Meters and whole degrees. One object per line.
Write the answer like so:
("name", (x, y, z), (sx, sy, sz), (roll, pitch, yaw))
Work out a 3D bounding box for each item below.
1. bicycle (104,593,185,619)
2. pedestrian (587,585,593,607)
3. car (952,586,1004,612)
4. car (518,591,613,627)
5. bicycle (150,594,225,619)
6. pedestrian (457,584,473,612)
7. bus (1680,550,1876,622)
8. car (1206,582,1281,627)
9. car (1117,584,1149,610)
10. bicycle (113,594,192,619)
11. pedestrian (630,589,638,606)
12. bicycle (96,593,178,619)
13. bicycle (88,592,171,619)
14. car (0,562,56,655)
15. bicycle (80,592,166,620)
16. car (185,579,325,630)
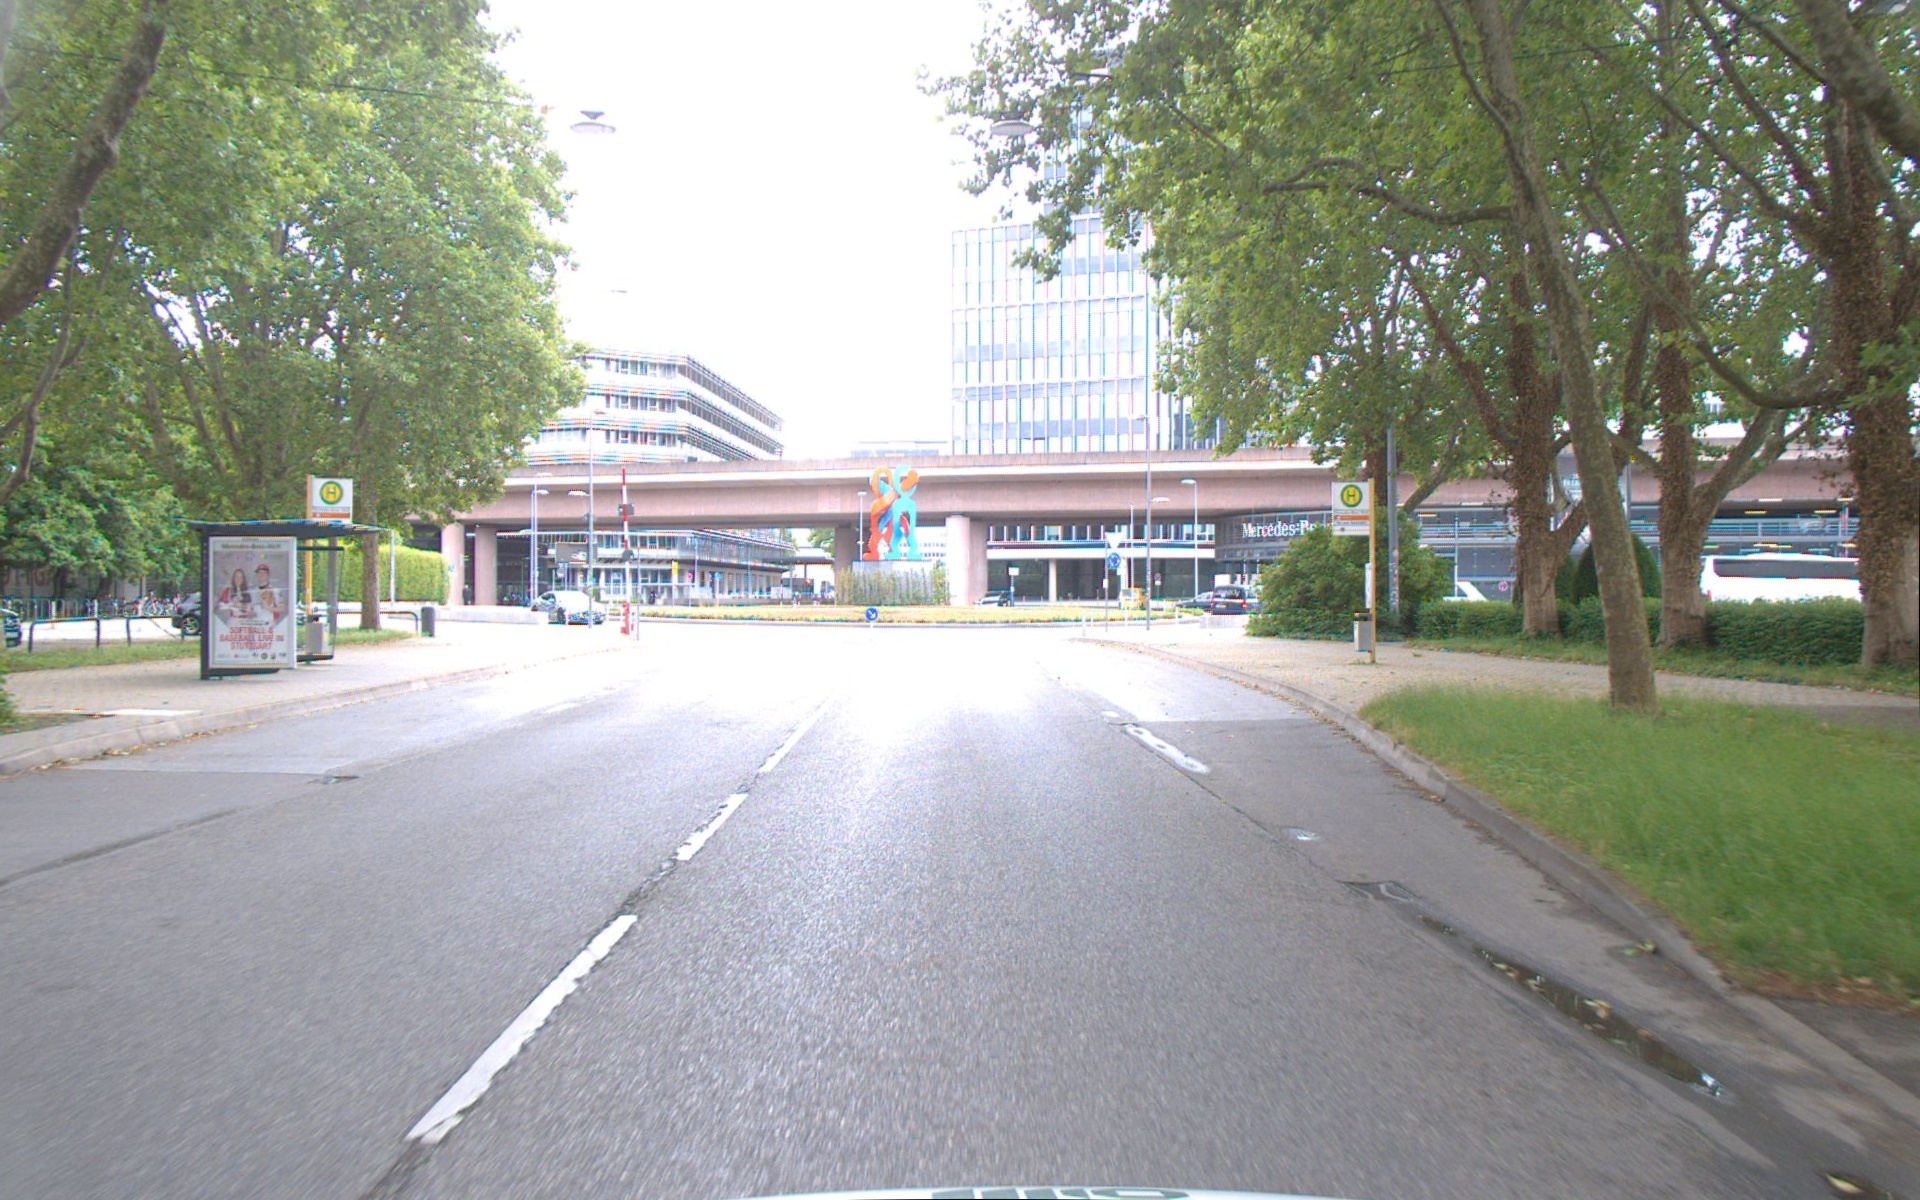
("bicycle", (-36.872, 0.264, 74.826), (3.130, 1.116, 0.770), (1, -1, -17))
("pedestrian", (-34.738, -0.398, 155.225), (0.578, 2.049, 0.597), (1, 0, -13))
("car", (1.321, -0.061, 119.176), (1.958, 1.803, 3.988), (1, 0, 33))
("car", (-17.529, 0.406, 73.374), (4.734, 1.478, 1.894), (-1, 1, 45))
("bicycle", (-36.444, 0.302, 78.079), (3.131, 1.116, 0.769), (-1, 0, -17))
("pedestrian", (-35.423, -0.141, 118.311), (1.025, 2.049, 0.597), (1, 0, -13))
("bus", (47.876, -0.798, 96.863), (10.848, 4.003, 2.751), (1, 0, -11))
("car", (13.452, 0.198, 78.357), (2.231, 2.049, 4.779), (1, 0, 26))
("car", (14.106, -0.220, 134.805), (1.951, 2.049, 4.002), (1, 0, 16))
("bicycle", (-36.978, 0.291, 75.799), (3.131, 1.116, 0.769), (1, 0, -17))
("pedestrian", (-39.172, -0.312, 198.890), (0.760, 2.049, 0.671), (1, 0, -1))
("bicycle", (-36.563, 0.265, 73.493), (3.130, 1.116, 0.770), (1, -1, -17))
("bicycle", (-36.389, 0.262, 72.532), (3.130, 1.116, 0.770), (1, -1, -17))
("car", (-23.427, 0.158, 37.547), (4.521, 2.061, 2.263), (1, 0, 1))
("bicycle", (-35.807, 0.266, 70.788), (3.130, 1.116, 0.770), (1, -1, -17))
("car", (-23.682, 0.144, 55.708), (3.914, 1.633, 2.227), (0, 0, -10))
